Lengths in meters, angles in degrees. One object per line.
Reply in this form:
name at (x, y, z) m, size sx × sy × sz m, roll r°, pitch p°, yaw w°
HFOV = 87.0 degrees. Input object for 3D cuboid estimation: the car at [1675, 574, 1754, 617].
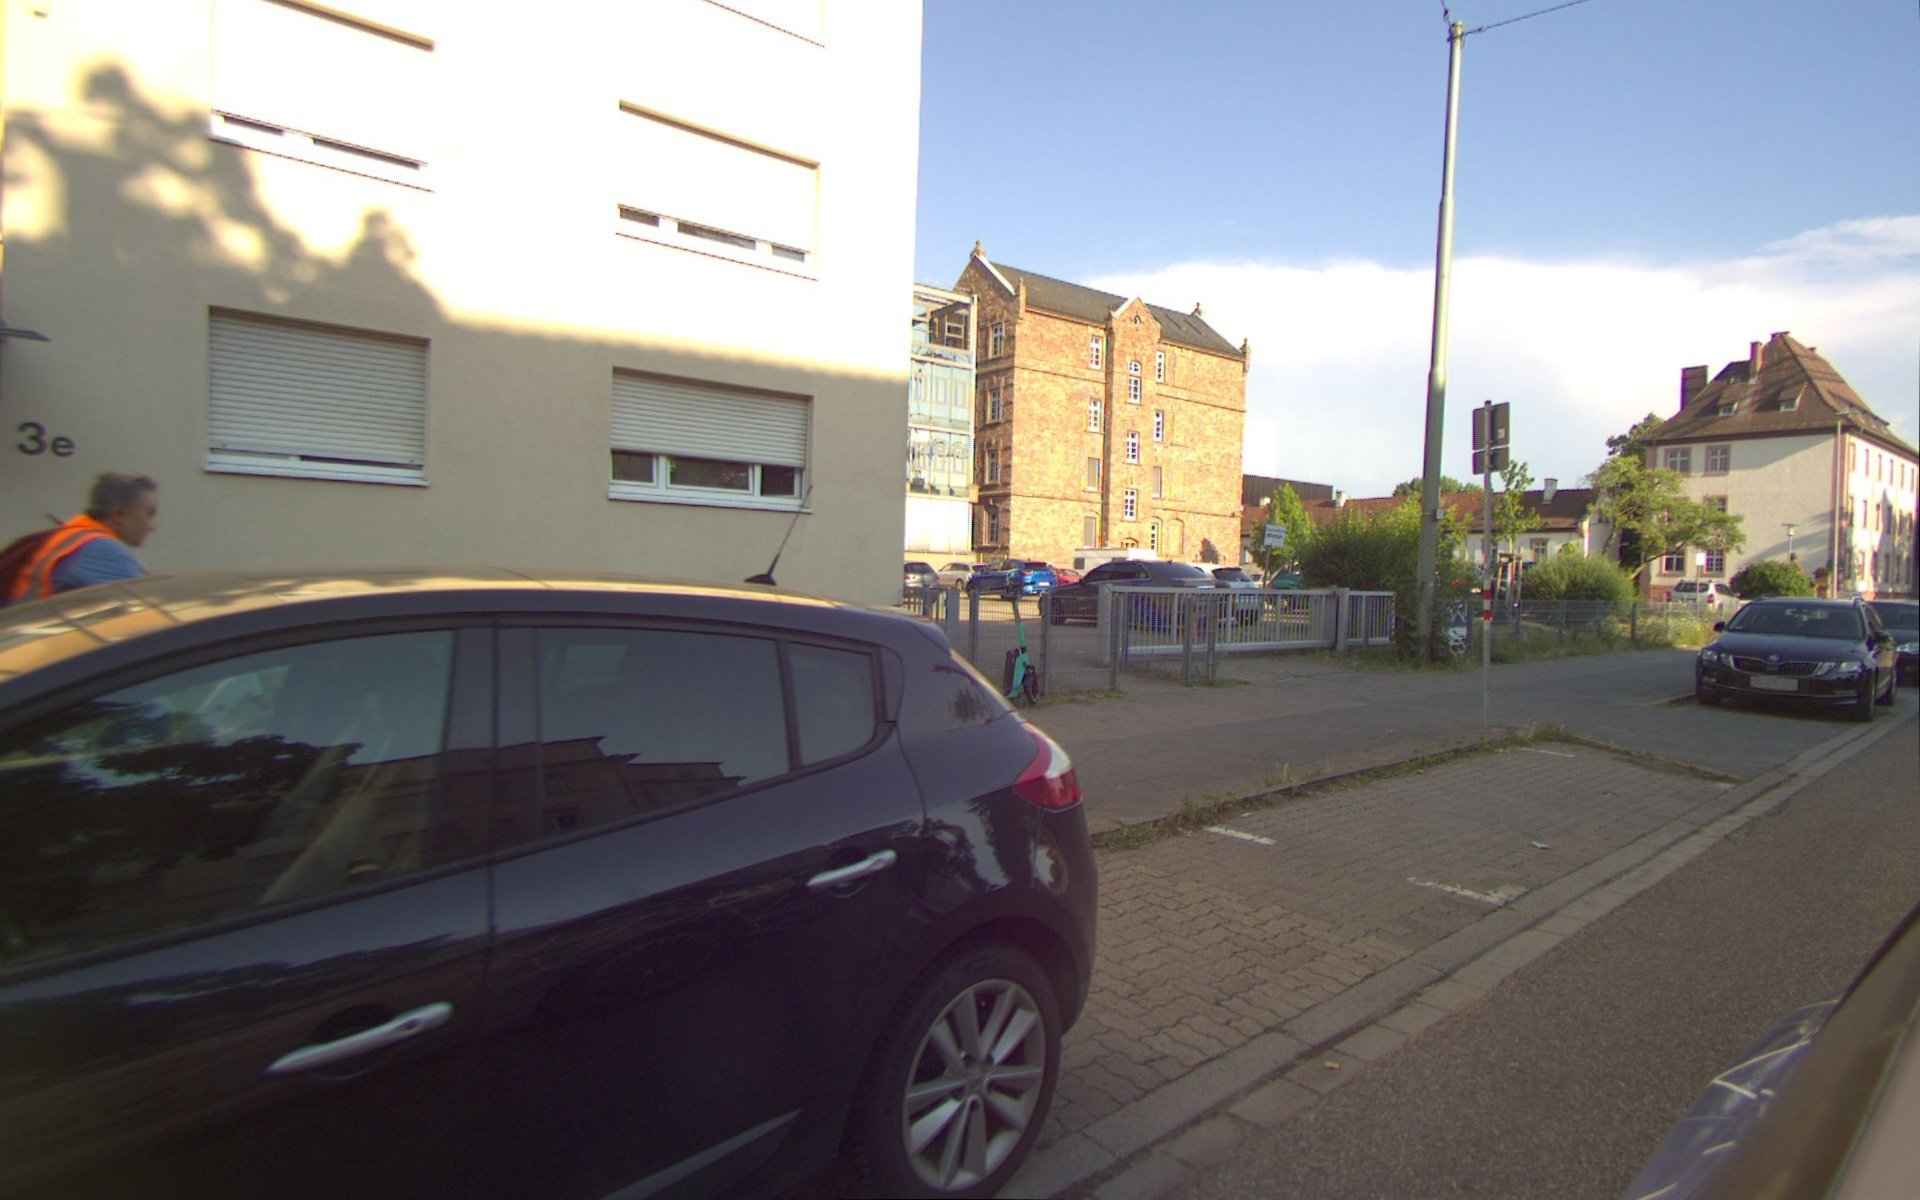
car at (30.988, -0.207, 41.531) m, size 3.928 × 1.682 × 1.657 m, roll 0°, pitch 1°, yaw -39°

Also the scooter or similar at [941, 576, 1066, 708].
scooter or similar at (0.446, 0.387, 9.994) m, size 1.219 × 1.205 × 0.334 m, roll 0°, pitch 9°, yaw -41°

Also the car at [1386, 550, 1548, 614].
car at (15.464, -0.564, 31.024) m, size 1.964 × 1.816 × 3.997 m, roll 0°, pitch 1°, yaw -39°

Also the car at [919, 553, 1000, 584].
car at (-0.076, -1.537, 50.297) m, size 1.700 × 1.473 × 4.489 m, roll 0°, pitch 1°, yaw -37°

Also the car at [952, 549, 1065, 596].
car at (1.723, -1.017, 37.524) m, size 1.700 × 1.622 × 4.489 m, roll 0°, pitch 1°, yaw -37°

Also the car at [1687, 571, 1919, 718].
car at (11.709, 0.470, 13.842) m, size 4.863 × 1.580 × 1.889 m, roll 0°, pitch 4°, yaw -43°

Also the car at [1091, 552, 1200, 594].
car at (7.661, -1.116, 42.221) m, size 1.700 × 1.622 × 4.489 m, roll 0°, pitch 1°, yaw -37°

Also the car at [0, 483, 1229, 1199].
car at (-1.521, 0.585, 1.986) m, size 4.544 × 1.525 × 1.801 m, roll -1°, pitch 3°, yaw -43°

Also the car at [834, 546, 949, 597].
car at (-2.408, -0.946, 34.331) m, size 1.700 × 1.622 × 4.489 m, roll 0°, pitch 1°, yaw -37°

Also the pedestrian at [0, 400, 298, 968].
pedestrian at (-3.356, 0.275, 3.893) m, size 1.257 × 1.914 × 0.890 m, roll 0°, pitch 1°, yaw -41°

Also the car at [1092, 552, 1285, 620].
car at (5.358, -0.365, 24.262) m, size 1.700 × 1.473 × 4.489 m, roll 0°, pitch 1°, yaw -37°

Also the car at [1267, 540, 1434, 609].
car at (11.051, -0.717, 28.826) m, size 1.965 × 1.816 × 3.995 m, roll 0°, pitch 1°, yaw -40°

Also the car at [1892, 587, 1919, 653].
car at (25.151, 0.497, 25.364) m, size 4.723 × 1.548 × 1.907 m, roll 0°, pitch 2°, yaw -39°

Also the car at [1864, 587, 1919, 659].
car at (21.313, 0.568, 22.283) m, size 3.891 × 1.454 × 1.653 m, roll 3°, pitch 1°, yaw -43°

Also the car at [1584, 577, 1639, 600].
car at (43.751, -0.774, 67.925) m, size 3.928 × 1.471 × 1.998 m, roll 0°, pitch 1°, yaw -39°

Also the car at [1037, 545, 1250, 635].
car at (3.801, -0.295, 21.700) m, size 1.700 × 1.621 × 4.492 m, roll 0°, pitch 4°, yaw -37°

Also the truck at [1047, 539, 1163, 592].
truck at (7.904, -1.872, 55.827) m, size 2.496 × 2.717 × 6.441 m, roll 0°, pitch 1°, yaw -37°

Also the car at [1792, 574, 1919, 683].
car at (17.156, 0.456, 18.661) m, size 4.499 × 1.801 × 1.906 m, roll 0°, pitch 0°, yaw -39°
